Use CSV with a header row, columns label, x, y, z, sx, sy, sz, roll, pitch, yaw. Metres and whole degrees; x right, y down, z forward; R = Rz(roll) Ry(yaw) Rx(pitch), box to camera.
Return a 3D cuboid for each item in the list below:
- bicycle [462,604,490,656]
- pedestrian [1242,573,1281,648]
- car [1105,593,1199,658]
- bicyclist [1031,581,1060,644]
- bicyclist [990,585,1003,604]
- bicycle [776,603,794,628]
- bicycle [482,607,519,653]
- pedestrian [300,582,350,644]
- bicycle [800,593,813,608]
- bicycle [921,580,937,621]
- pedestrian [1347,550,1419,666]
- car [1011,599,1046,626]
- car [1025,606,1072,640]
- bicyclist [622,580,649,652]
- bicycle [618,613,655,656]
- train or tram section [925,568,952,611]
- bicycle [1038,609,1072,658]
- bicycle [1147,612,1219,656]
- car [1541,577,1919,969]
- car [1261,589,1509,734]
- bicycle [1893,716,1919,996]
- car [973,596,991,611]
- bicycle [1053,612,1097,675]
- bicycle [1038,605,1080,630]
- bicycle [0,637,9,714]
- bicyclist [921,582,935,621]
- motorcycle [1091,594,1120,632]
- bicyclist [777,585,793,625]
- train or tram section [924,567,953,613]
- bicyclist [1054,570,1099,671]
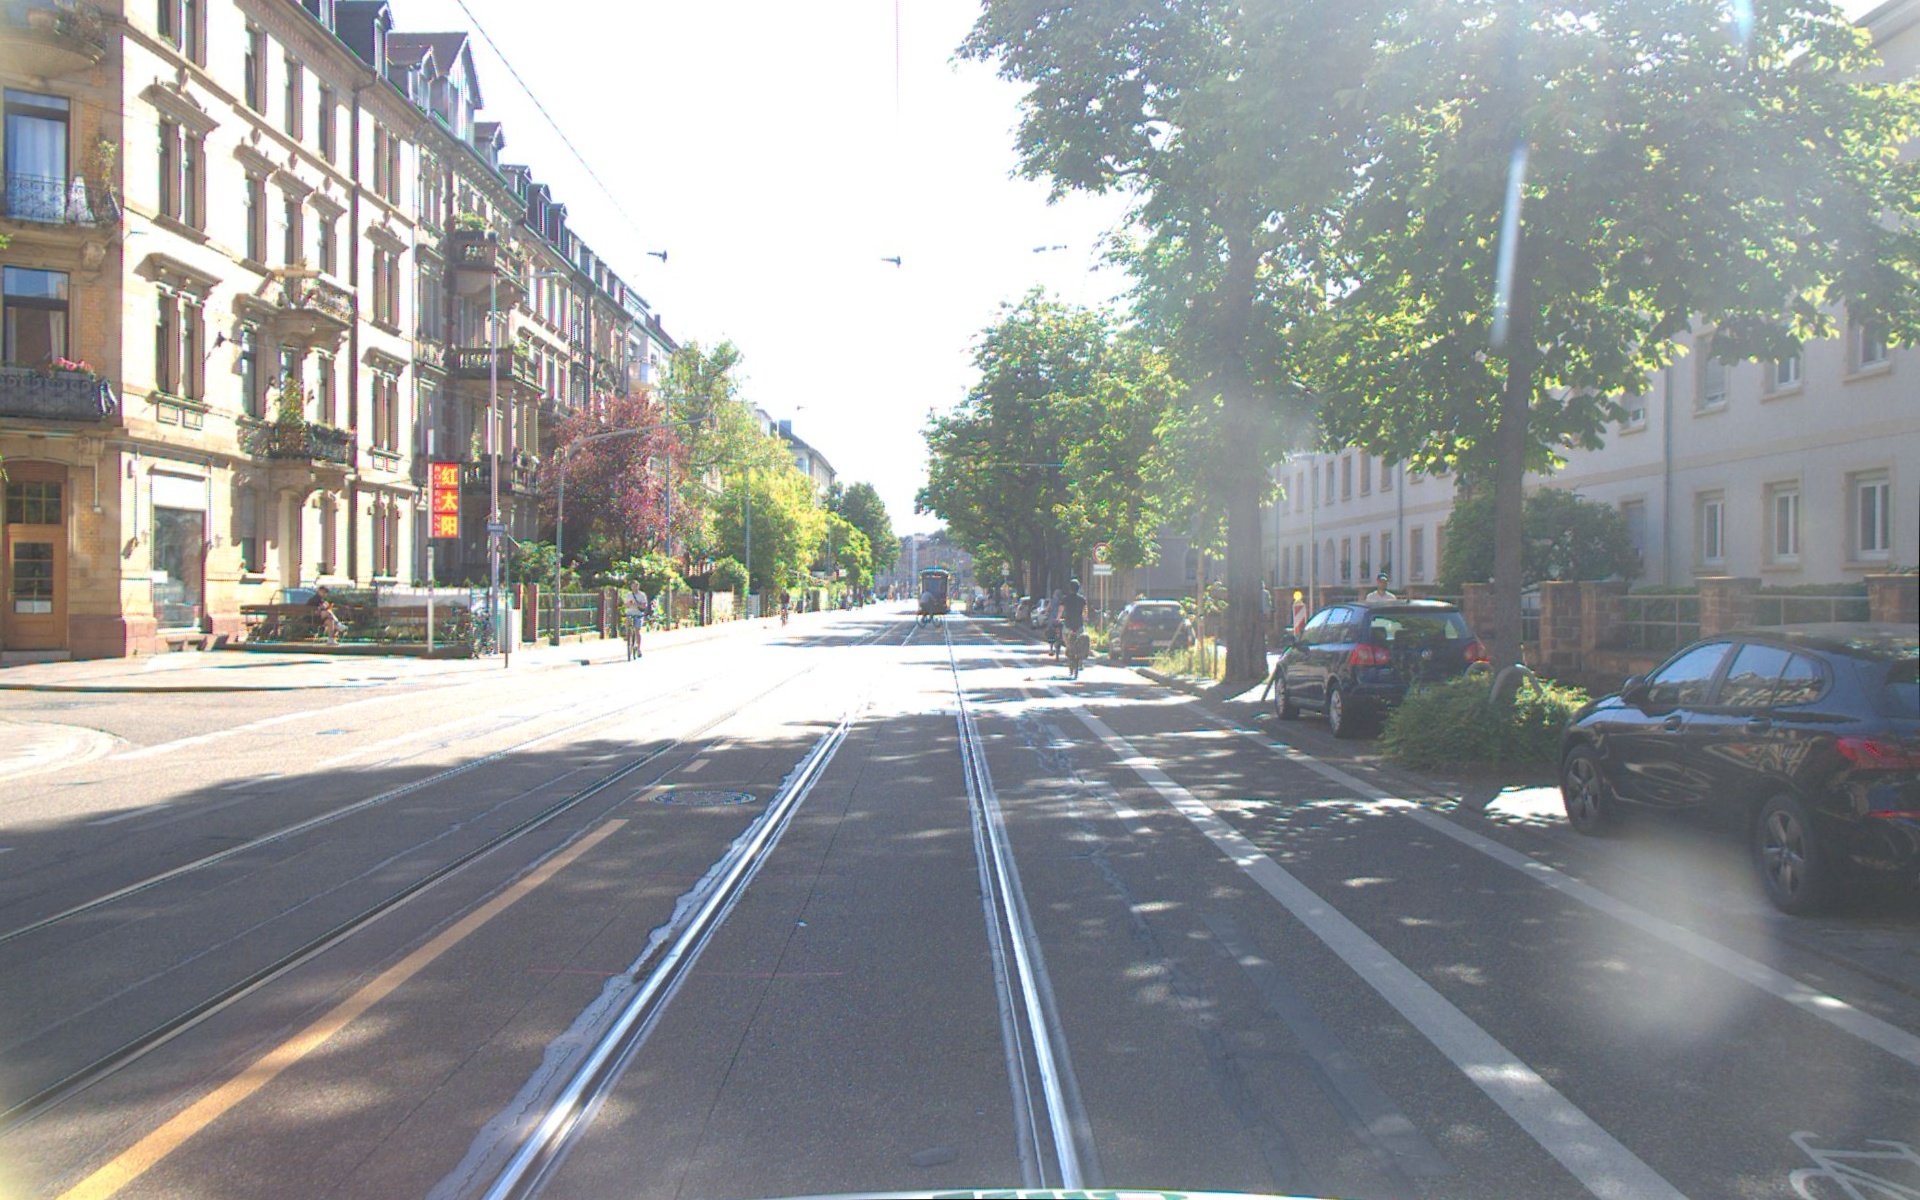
label,x,y,z,sx,sy,sz,roll,pitch,yaw
bicycle,-10.873,0.669,37.143,0.363,1.146,0.808,2,0,-1
pedestrian,7.269,0.251,39.867,0.748,1.754,0.579,2,0,28
car,4.588,0.581,40.001,1.751,1.489,4.044,0,0,-1
bicyclist,2.071,0.308,40.283,0.622,1.493,0.616,2,0,-1
bicyclist,2.625,-0.386,119.601,0.756,1.314,0.734,2,0,15
bicycle,-8.162,0.704,77.188,0.677,1.132,1.718,-1,0,-1
bicycle,-10.633,0.686,38.315,0.328,1.018,1.869,2,0,-1
pedestrian,-14.402,0.286,37.527,0.882,1.376,0.577,-1,0,0
bicycle,-11.673,0.043,125.769,0.623,1.088,1.823,2,0,-17
bicycle,-1.475,0.026,79.041,0.649,1.891,2.260,2,0,0
pedestrian,6.768,0.127,26.483,0.593,1.801,0.903,-2,0,-31
car,3.891,0.686,94.103,1.713,1.445,3.999,0,0,-1
car,3.999,1.021,75.683,1.596,1.461,4.661,0,0,-4
bicyclist,-7.632,0.371,38.912,0.455,1.647,0.744,-1,0,-1
bicycle,-7.610,0.805,38.974,0.451,0.942,2.202,-1,0,-1
train or tram section,-1.846,-0.864,138.447,2.110,3.491,6.610,2,0,-1
bicycle,2.310,0.807,40.367,0.677,1.132,1.917,2,0,-1
bicycle,5.779,0.875,42.889,1.758,1.086,0.620,-1,0,-6
car,5.052,0.774,9.760,1.632,1.791,4.230,-1,0,-2
car,4.869,0.633,19.542,1.685,1.499,4.244,-1,0,-2
bicycle,4.688,1.053,6.542,1.725,1.096,0.433,2,0,0
car,2.326,0.355,177.200,1.718,1.579,3.676,2,0,-1
bicycle,2.194,0.818,31.783,0.677,1.132,1.718,2,0,-1
bicycle,4.354,0.777,72.649,1.756,1.037,0.620,-2,0,-2
bicycle,-12.183,0.901,19.822,1.280,0.930,0.613,2,-2,-37
bicyclist,-1.522,0.052,78.922,0.632,1.827,0.955,2,0,-1
motorcycle,4.806,0.420,54.651,0.486,1.211,1.858,-3,1,-8
bicyclist,-8.160,0.238,77.086,0.647,1.833,0.616,-1,-1,-1
train or tram section,-1.720,-0.823,131.817,2.110,3.491,6.610,2,0,-1
bicyclist,2.226,0.391,31.706,0.713,1.880,0.836,2,0,-2
